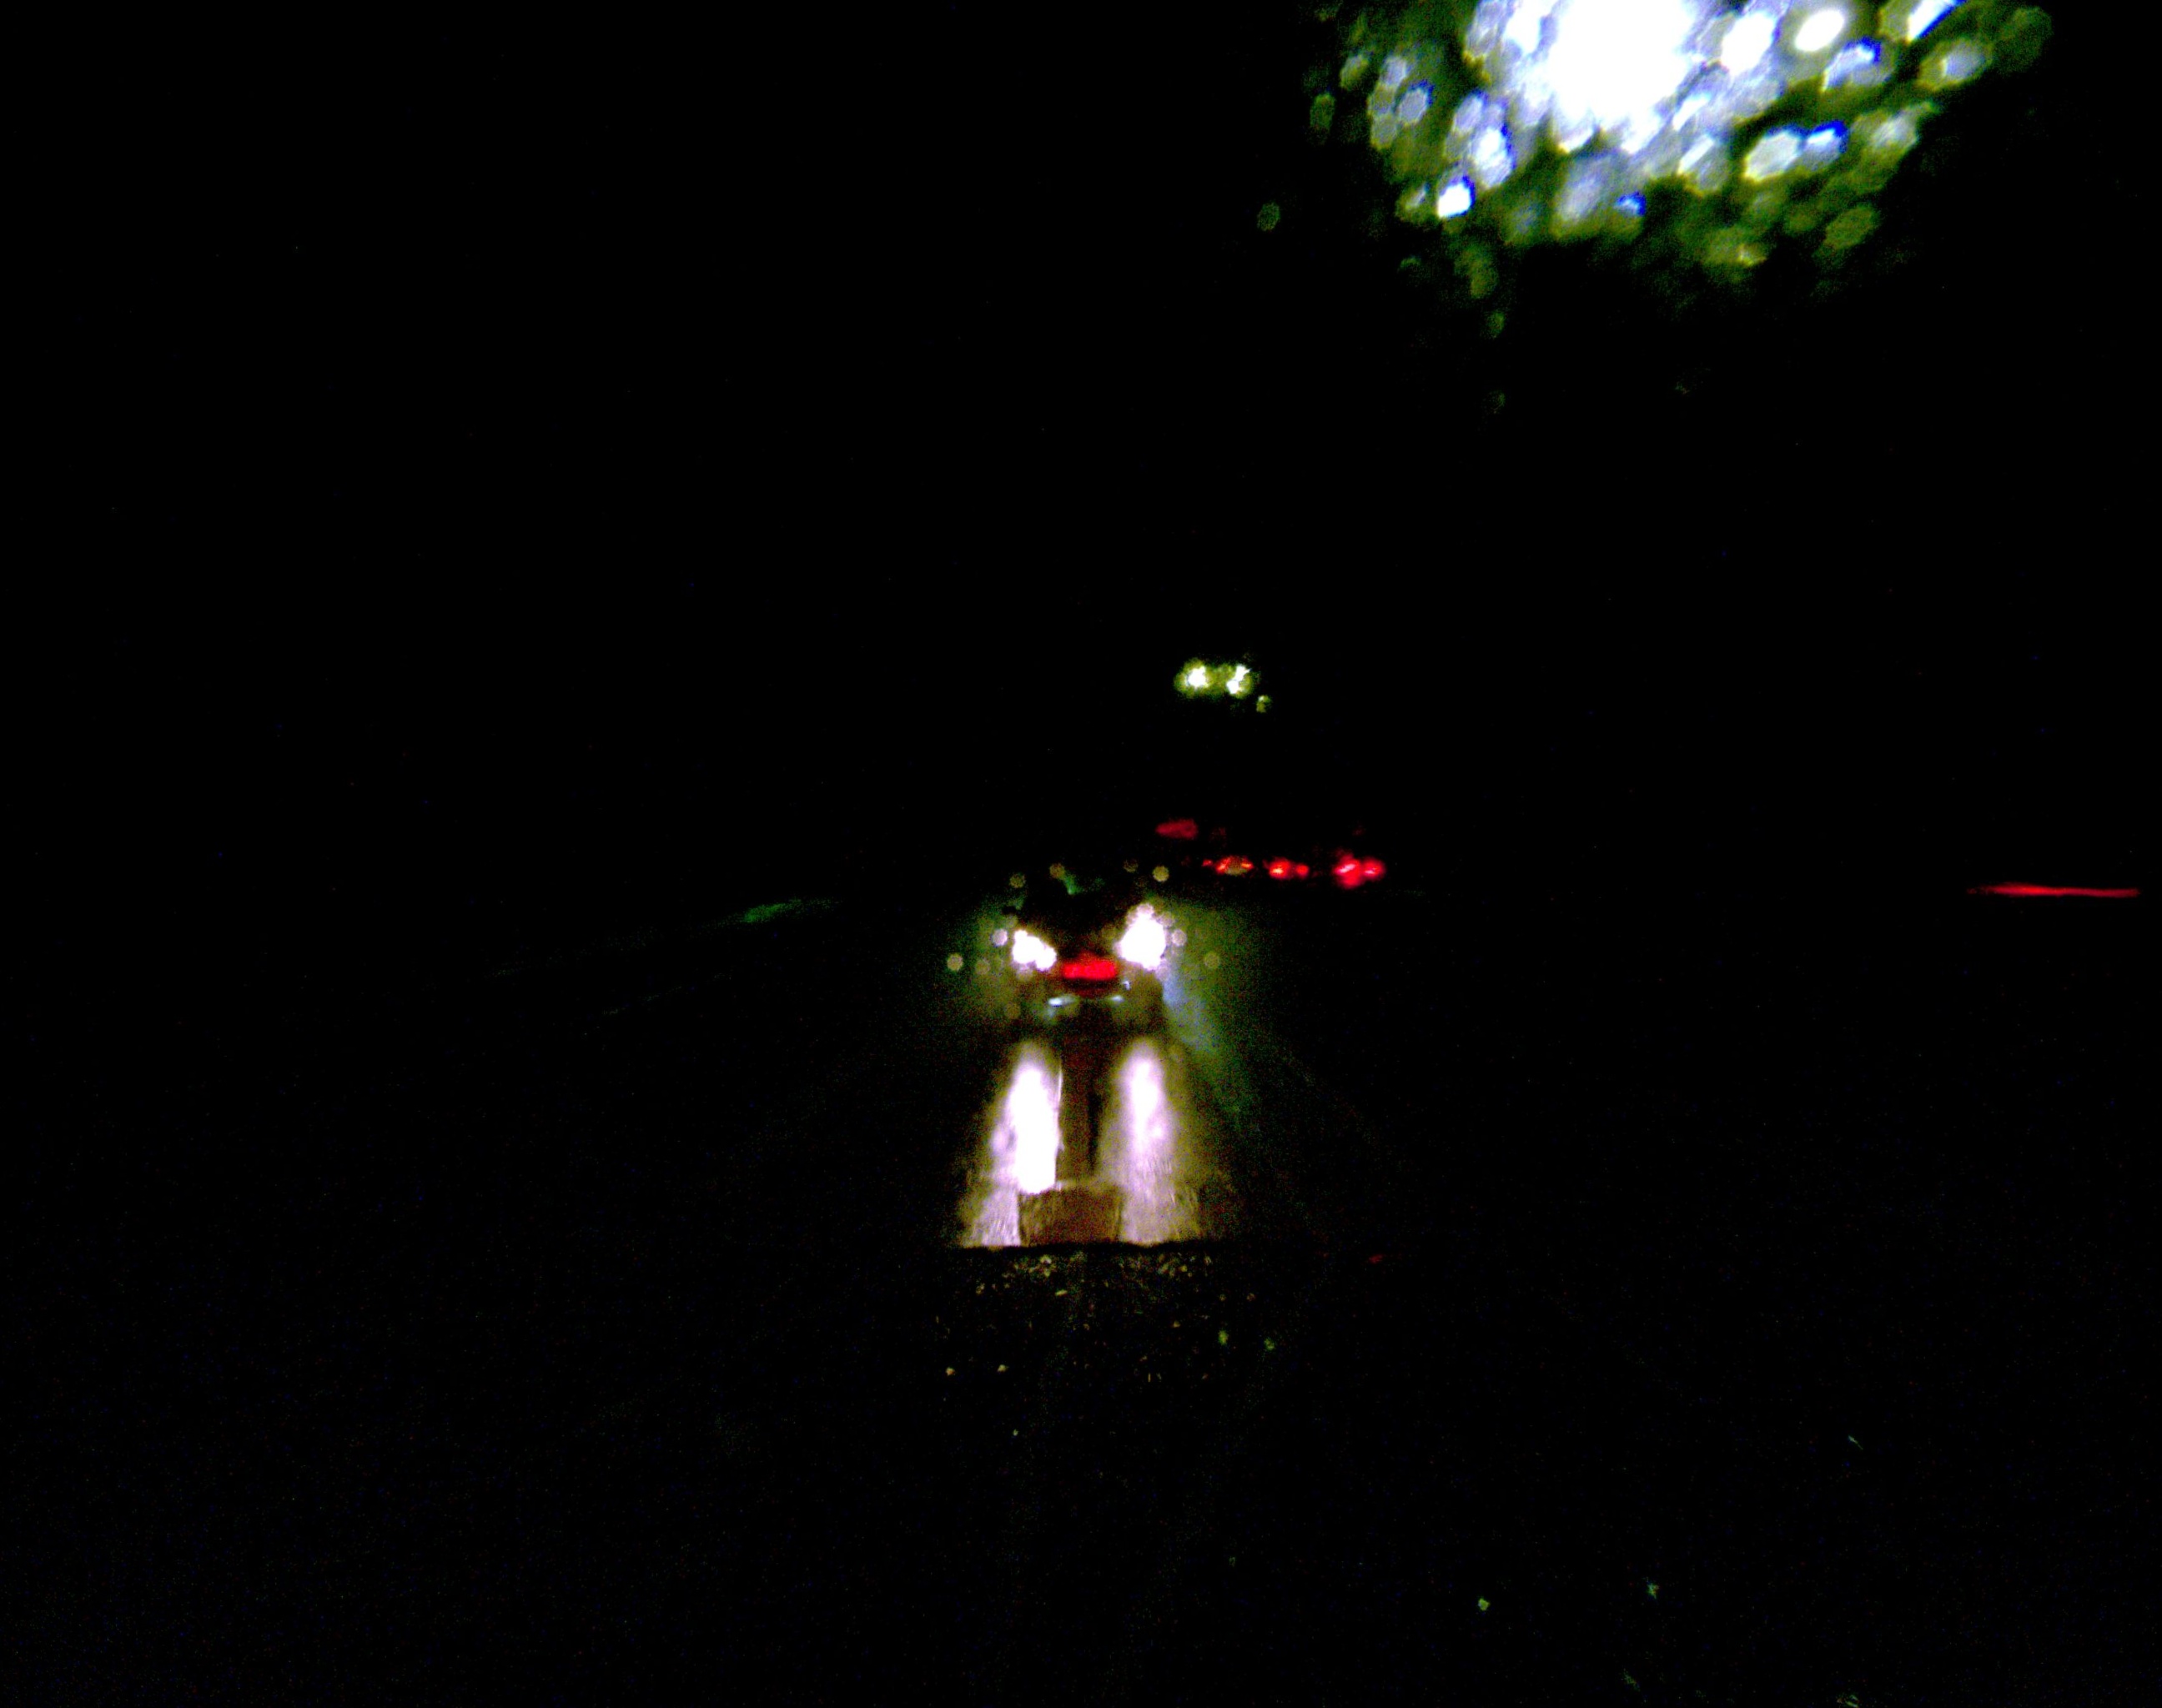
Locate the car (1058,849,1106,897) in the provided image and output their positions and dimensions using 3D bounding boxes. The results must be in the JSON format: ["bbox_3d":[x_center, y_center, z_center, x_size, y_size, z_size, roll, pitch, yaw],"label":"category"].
[{"bbox_3d":[0.002,0.704,31.218,1.784,1.696,3.998,-3,1,-1],"label":"car"}]

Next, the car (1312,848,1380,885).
[{"bbox_3d":[14.573,0.634,42.108,1.999,1.764,4.703,-3,1,-1],"label":"car"}]

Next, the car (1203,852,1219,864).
[{"bbox_3d":[18.696,0.509,109.458,1.604,1.543,3.833,-3,1,1],"label":"car"}]

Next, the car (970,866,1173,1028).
[{"bbox_3d":[0.066,0.911,9.167,1.848,1.440,4.002,-3,-1,5],"label":"car"}]

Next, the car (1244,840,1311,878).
[{"bbox_3d":[10.247,0.209,40.020,2.170,1.764,4.703,-3,1,-1],"label":"car"}]

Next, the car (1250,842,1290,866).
[{"bbox_3d":[15.615,-0.009,63.152,1.999,1.764,4.703,-3,1,-1],"label":"car"}]

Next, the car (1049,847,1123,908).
[{"bbox_3d":[0.146,0.597,21.826,1.849,1.441,3.874,-3,1,0],"label":"car"}]

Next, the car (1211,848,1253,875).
[{"bbox_3d":[10.941,0.512,55.462,1.999,1.764,4.703,-3,1,-1],"label":"car"}]

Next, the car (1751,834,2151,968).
[{"bbox_3d":[14.211,0.621,12.889,1.998,1.799,4.199,-3,1,1],"label":"car"}]
